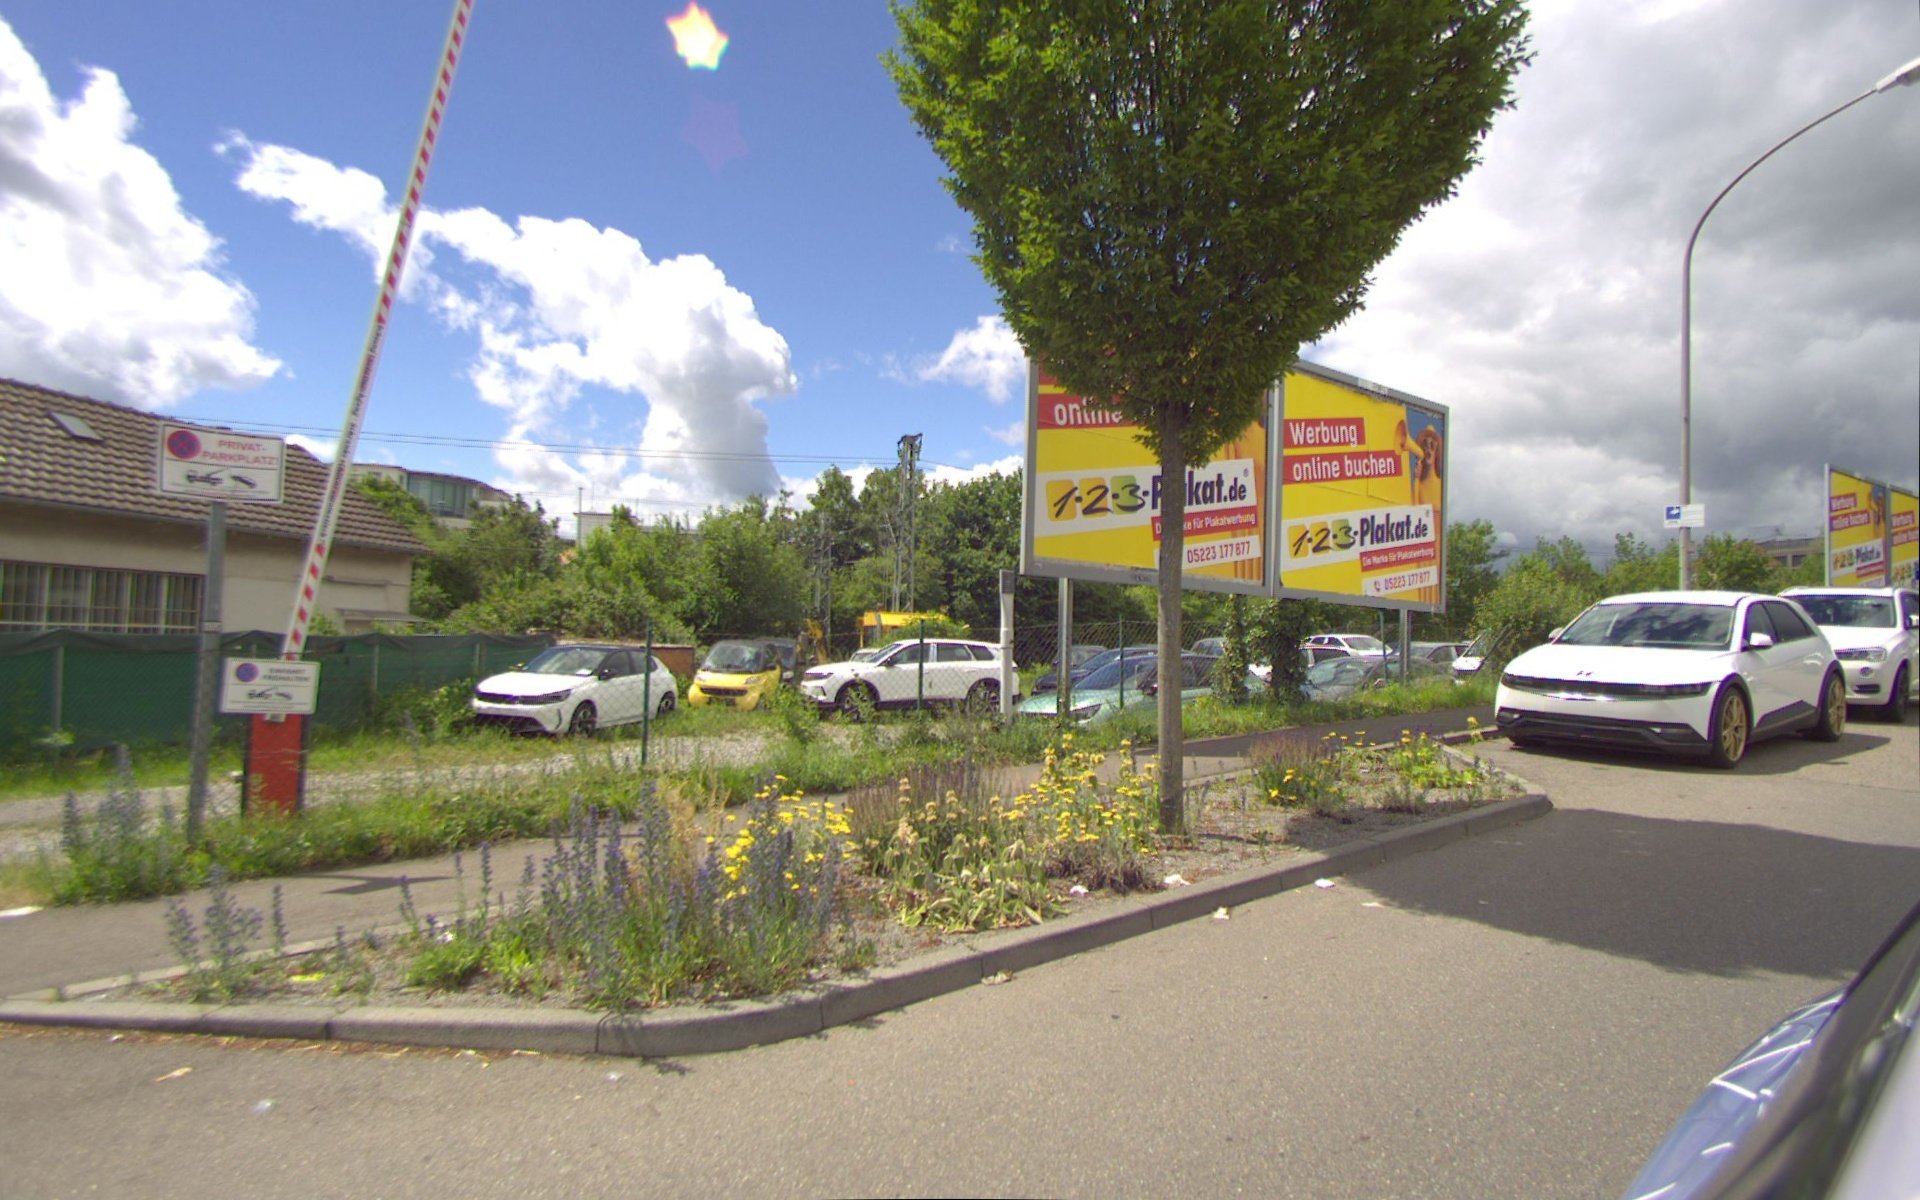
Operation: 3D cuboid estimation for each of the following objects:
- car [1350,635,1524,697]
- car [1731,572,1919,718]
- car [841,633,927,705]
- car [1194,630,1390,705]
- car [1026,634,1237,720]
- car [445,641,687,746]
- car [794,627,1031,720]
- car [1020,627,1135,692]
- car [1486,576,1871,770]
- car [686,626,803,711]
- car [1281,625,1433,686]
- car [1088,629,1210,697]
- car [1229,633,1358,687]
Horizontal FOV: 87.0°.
[{"bbox_3d":[12.556,1.691,26.670,4.066,1.465,1.703,0,-1,-18],"label":"car"},{"bbox_3d":[12.221,0.500,13.706,4.396,1.680,1.690,0,0,-37],"label":"car"},{"bbox_3d":[-1.987,1.648,25.384,1.753,1.407,4.195,0,1,-9],"label":"car"},{"bbox_3d":[8.111,1.586,24.720,4.486,1.536,1.761,0,1,-23],"label":"car"},{"bbox_3d":[3.873,1.683,22.898,4.369,1.642,1.822,0,1,-21],"label":"car"},{"bbox_3d":[-6.199,1.410,16.481,1.717,1.408,4.026,1,-2,13],"label":"car"},{"bbox_3d":[-1.007,1.447,20.976,4.580,1.706,1.759,1,1,-18],"label":"car"},{"bbox_3d":[3.111,1.555,27.551,1.707,1.407,4.052,0,1,-15],"label":"car"},{"bbox_3d":[7.405,0.559,10.298,4.381,1.585,1.848,-1,1,-35],"label":"car"},{"bbox_3d":[-4.435,1.365,21.372,1.496,1.407,4.042,0,1,2],"label":"car"},{"bbox_3d":[12.046,1.634,31.056,1.958,1.574,4.470,0,0,-18],"label":"car"},{"bbox_3d":[5.222,1.701,28.499,1.758,1.632,4.008,0,0,-15],"label":"car"},{"bbox_3d":[9.913,1.752,30.386,1.719,1.347,4.008,0,0,-15],"label":"car"}]
